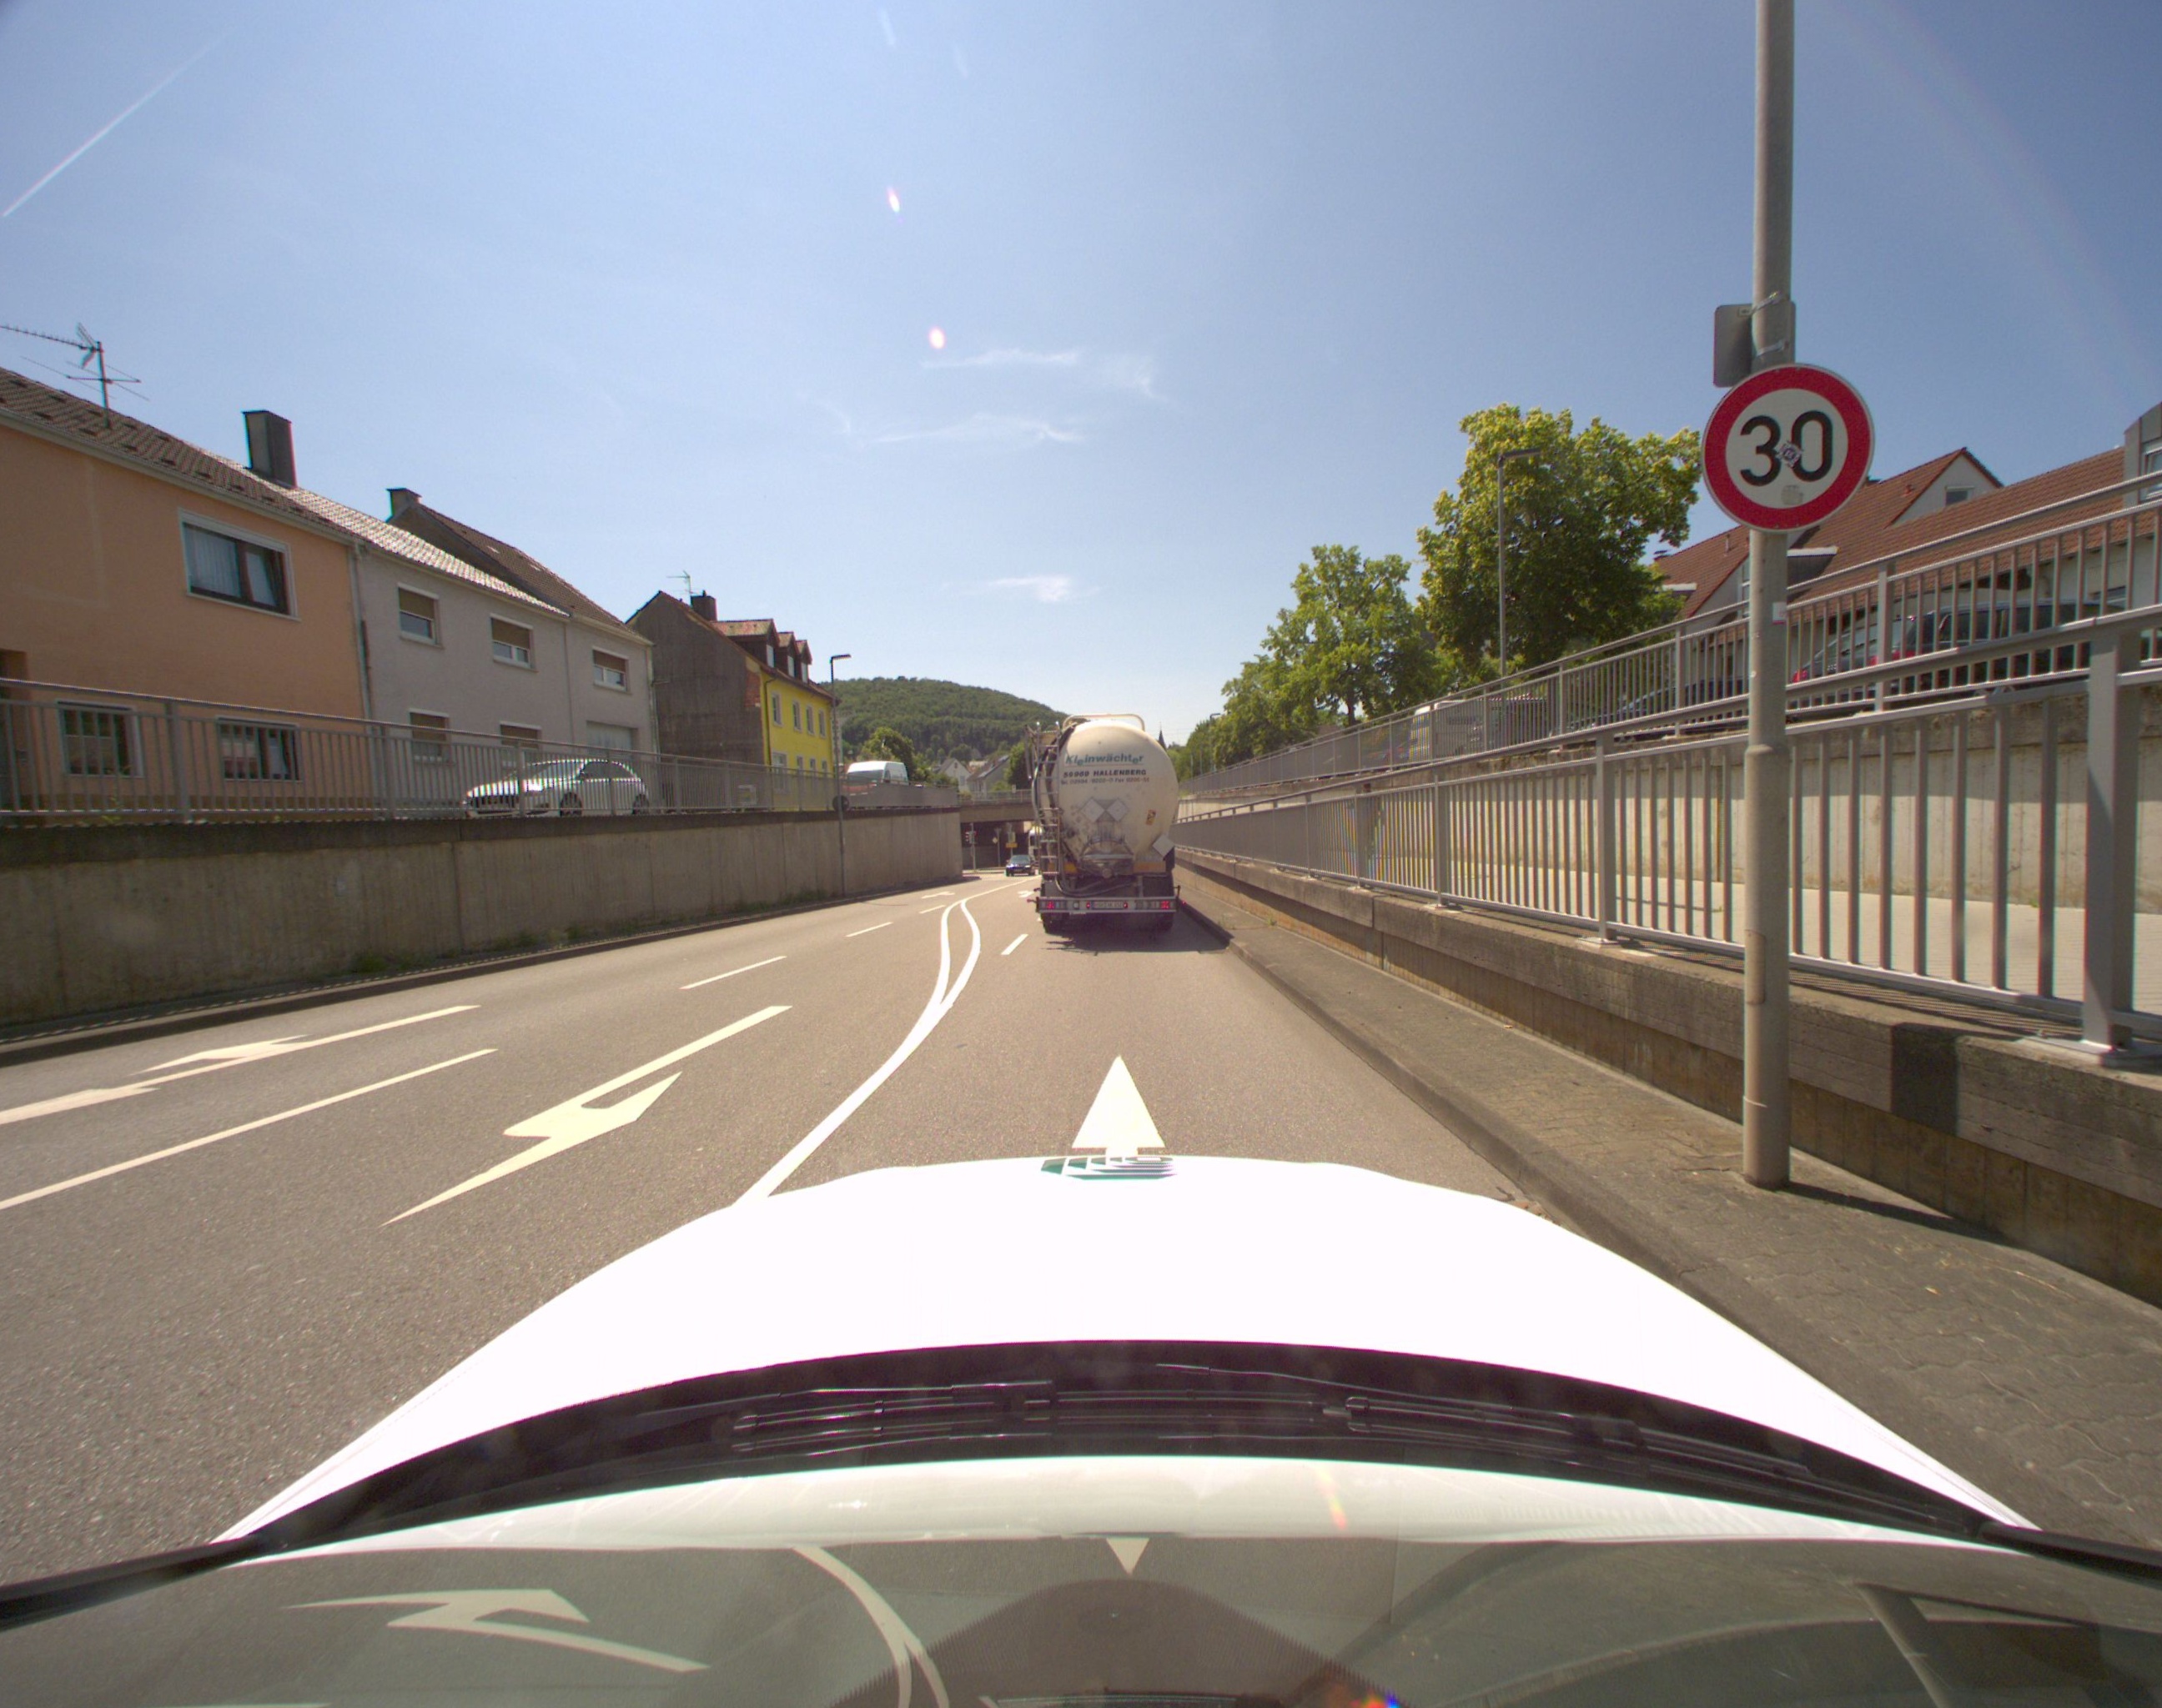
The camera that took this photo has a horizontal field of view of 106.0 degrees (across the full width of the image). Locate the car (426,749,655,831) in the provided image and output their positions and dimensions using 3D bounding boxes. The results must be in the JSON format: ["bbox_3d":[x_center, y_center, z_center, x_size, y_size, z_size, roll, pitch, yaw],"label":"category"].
[{"bbox_3d":[-10.938,-1.283,16.943,1.807,1.462,4.310,-1,3,0],"label":"car"}]

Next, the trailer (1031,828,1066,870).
[{"bbox_3d":[-3.175,-0.501,82.517,2.599,3.964,9.353,-1,0,3],"label":"trailer"}]

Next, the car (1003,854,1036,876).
[{"bbox_3d":[-4.297,0.753,57.493,1.753,1.489,4.371,-1,0,3],"label":"car"}]

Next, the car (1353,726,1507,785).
[{"bbox_3d":[11.110,-3.116,26.119,4.187,1.595,1.688,-2,3,3],"label":"car"}]

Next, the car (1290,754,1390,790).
[{"bbox_3d":[11.337,-3.588,35.850,3.889,1.367,1.688,-2,3,3],"label":"car"}]

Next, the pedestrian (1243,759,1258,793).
[{"bbox_3d":[9.114,-4.187,43.828,0.670,1.779,0.595,-2,2,3],"label":"pedestrian"}]

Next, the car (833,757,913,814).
[{"bbox_3d":[-9.950,-3.261,39.525,2.057,2.535,5.668,-1,3,3],"label":"car"}]

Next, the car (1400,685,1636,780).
[{"bbox_3d":[11.293,-3.112,21.321,5.091,2.063,1.991,-2,3,3],"label":"car"}]

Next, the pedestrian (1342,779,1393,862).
[{"bbox_3d":[6.430,-0.740,18.307,0.833,1.781,0.789,-2,1,2],"label":"pedestrian"}]

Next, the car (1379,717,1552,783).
[{"bbox_3d":[11.010,-2.960,23.516,4.187,1.595,1.688,-2,3,3],"label":"car"}]

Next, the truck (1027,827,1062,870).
[{"bbox_3d":[-3.438,-0.463,77.536,2.651,3.860,6.584,-1,0,3],"label":"truck"}]

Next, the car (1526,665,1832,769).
[{"bbox_3d":[10.743,-2.429,14.860,4.268,1.498,1.750,-2,3,3],"label":"car"}]

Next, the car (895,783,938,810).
[{"bbox_3d":[-9.796,-3.399,48.658,1.613,1.500,4.047,-1,3,1],"label":"car"}]

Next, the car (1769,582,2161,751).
[{"bbox_3d":[10.619,-2.067,9.228,4.187,1.498,1.688,-2,3,3],"label":"car"}]

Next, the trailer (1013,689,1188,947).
[{"bbox_3d":[0.671,-0.590,19.643,2.723,4.064,13.323,-1,0,3],"label":"trailer"}]

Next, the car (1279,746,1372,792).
[{"bbox_3d":[11.455,-3.982,38.281,3.889,1.884,1.688,-2,3,3],"label":"car"}]

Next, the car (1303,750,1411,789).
[{"bbox_3d":[11.254,-3.447,33.411,3.889,1.367,1.688,-2,3,3],"label":"car"}]

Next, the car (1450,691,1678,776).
[{"bbox_3d":[10.892,-2.695,18.592,4.187,1.595,1.688,-2,3,3],"label":"car"}]
